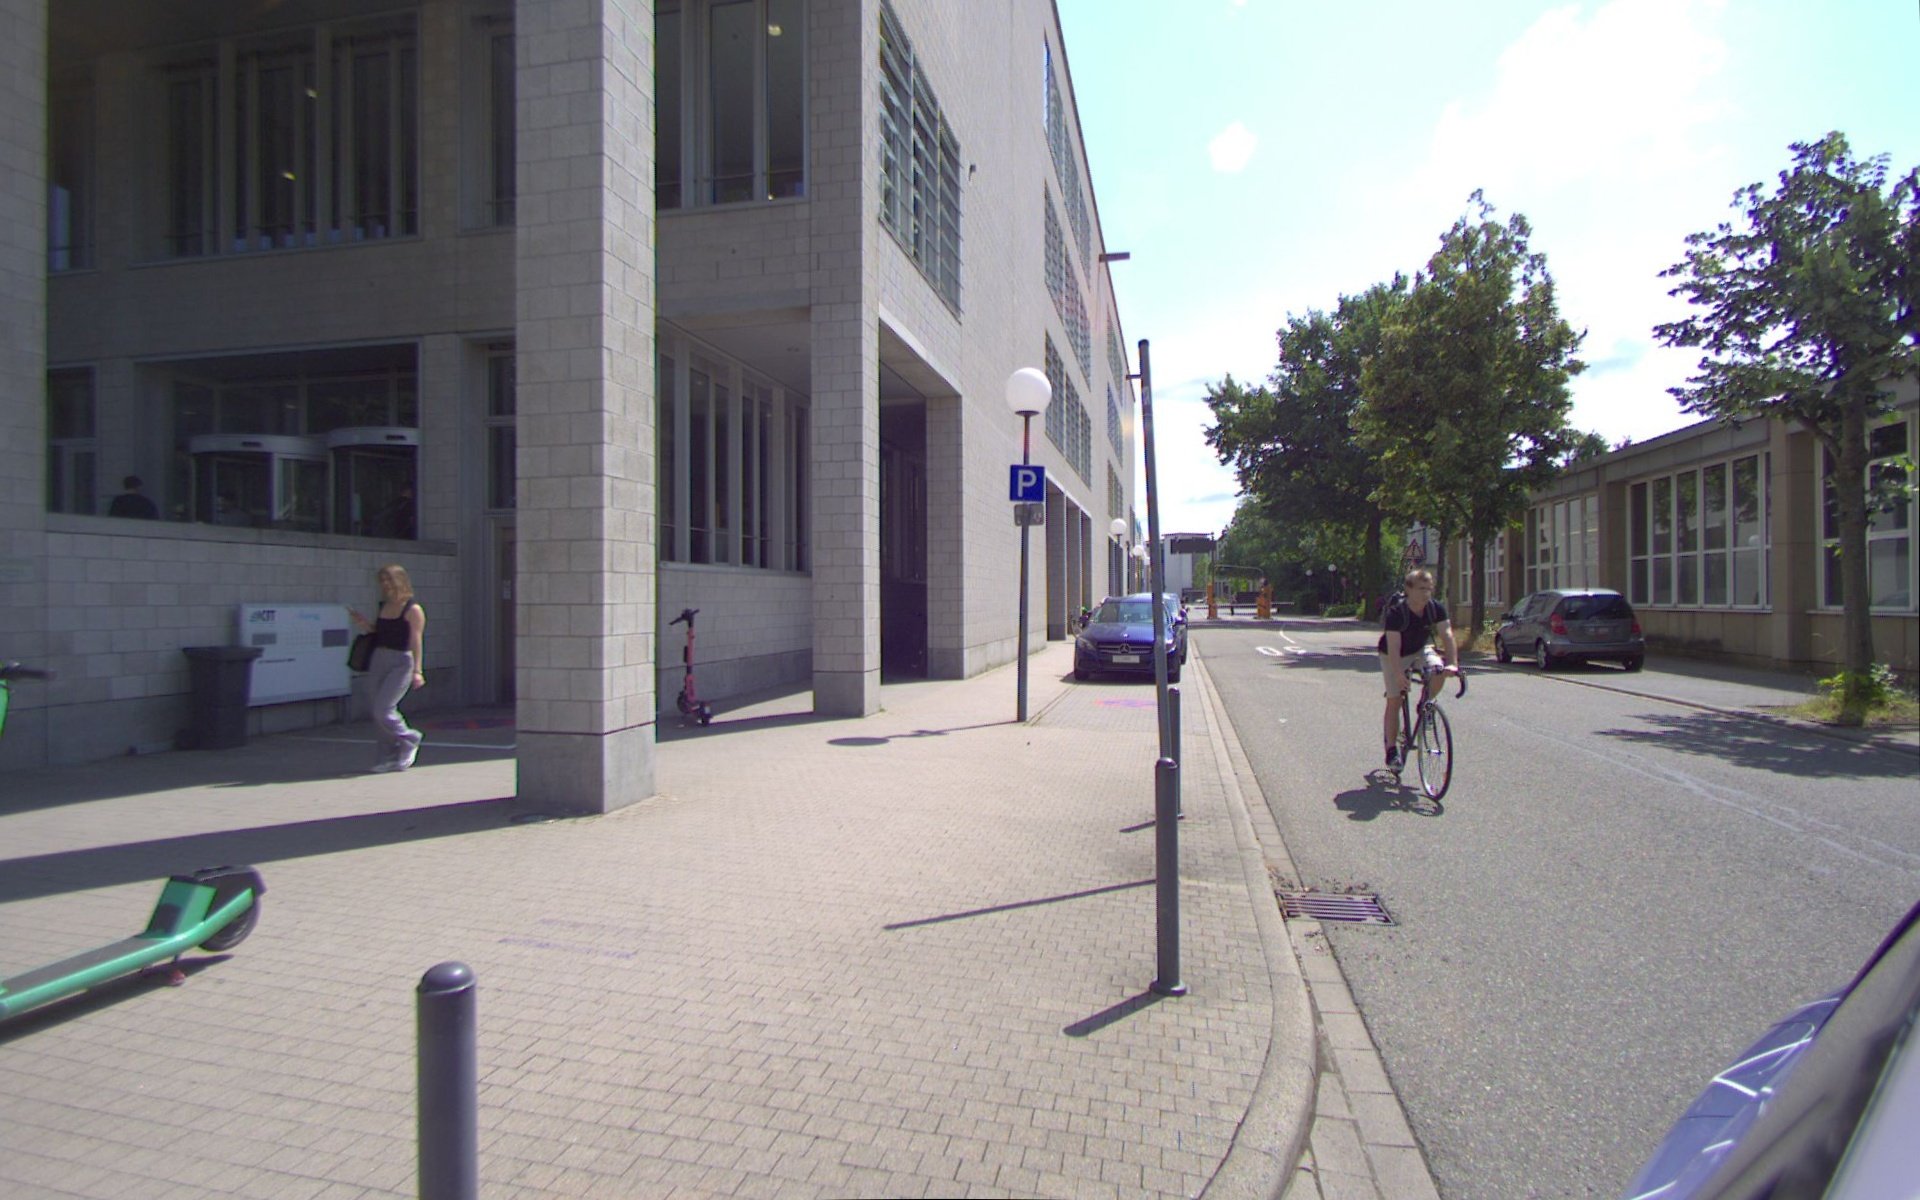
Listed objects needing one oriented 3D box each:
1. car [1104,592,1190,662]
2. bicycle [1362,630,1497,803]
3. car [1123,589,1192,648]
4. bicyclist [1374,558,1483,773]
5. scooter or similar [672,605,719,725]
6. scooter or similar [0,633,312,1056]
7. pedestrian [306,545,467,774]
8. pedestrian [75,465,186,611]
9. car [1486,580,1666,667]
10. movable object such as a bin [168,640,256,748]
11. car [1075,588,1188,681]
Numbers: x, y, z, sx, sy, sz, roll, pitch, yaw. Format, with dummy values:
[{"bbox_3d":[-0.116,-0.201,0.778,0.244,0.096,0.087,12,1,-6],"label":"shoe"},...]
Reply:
[{"bbox_3d":[4.444,0.588,23.925,1.823,1.495,4.120,0,0,11],"label":"car"},{"bbox_3d":[3.605,0.829,7.905,0.596,1.122,1.822,-1,0,14],"label":"bicycle"},{"bbox_3d":[5.757,0.510,29.502,1.823,1.602,4.120,0,0,11],"label":"car"},{"bbox_3d":[3.554,0.476,7.727,0.596,1.554,0.724,-1,-1,14],"label":"bicyclist"},{"bbox_3d":[-2.942,0.677,11.207,0.351,1.239,1.431,0,0,-21],"label":"scooter or similar"},{"bbox_3d":[-2.822,0.713,3.335,0.438,1.166,1.152,0,0,17],"label":"scooter or similar"},{"bbox_3d":[-4.437,0.448,7.895,0.690,1.677,0.881,0,-2,5],"label":"pedestrian"},{"bbox_3d":[-10.655,-0.775,13.022,0.868,1.826,0.701,0,-1,8],"label":"pedestrian"},{"bbox_3d":[12.619,0.450,21.055,1.823,1.598,4.120,-2,0,11],"label":"car"},{"bbox_3d":[-6.872,0.851,9.312,0.541,0.950,0.373,-1,-1,-6],"label":"movable object such as a bin"},{"bbox_3d":[3.194,0.562,18.592,1.823,1.495,4.120,0,0,11],"label":"car"}]
